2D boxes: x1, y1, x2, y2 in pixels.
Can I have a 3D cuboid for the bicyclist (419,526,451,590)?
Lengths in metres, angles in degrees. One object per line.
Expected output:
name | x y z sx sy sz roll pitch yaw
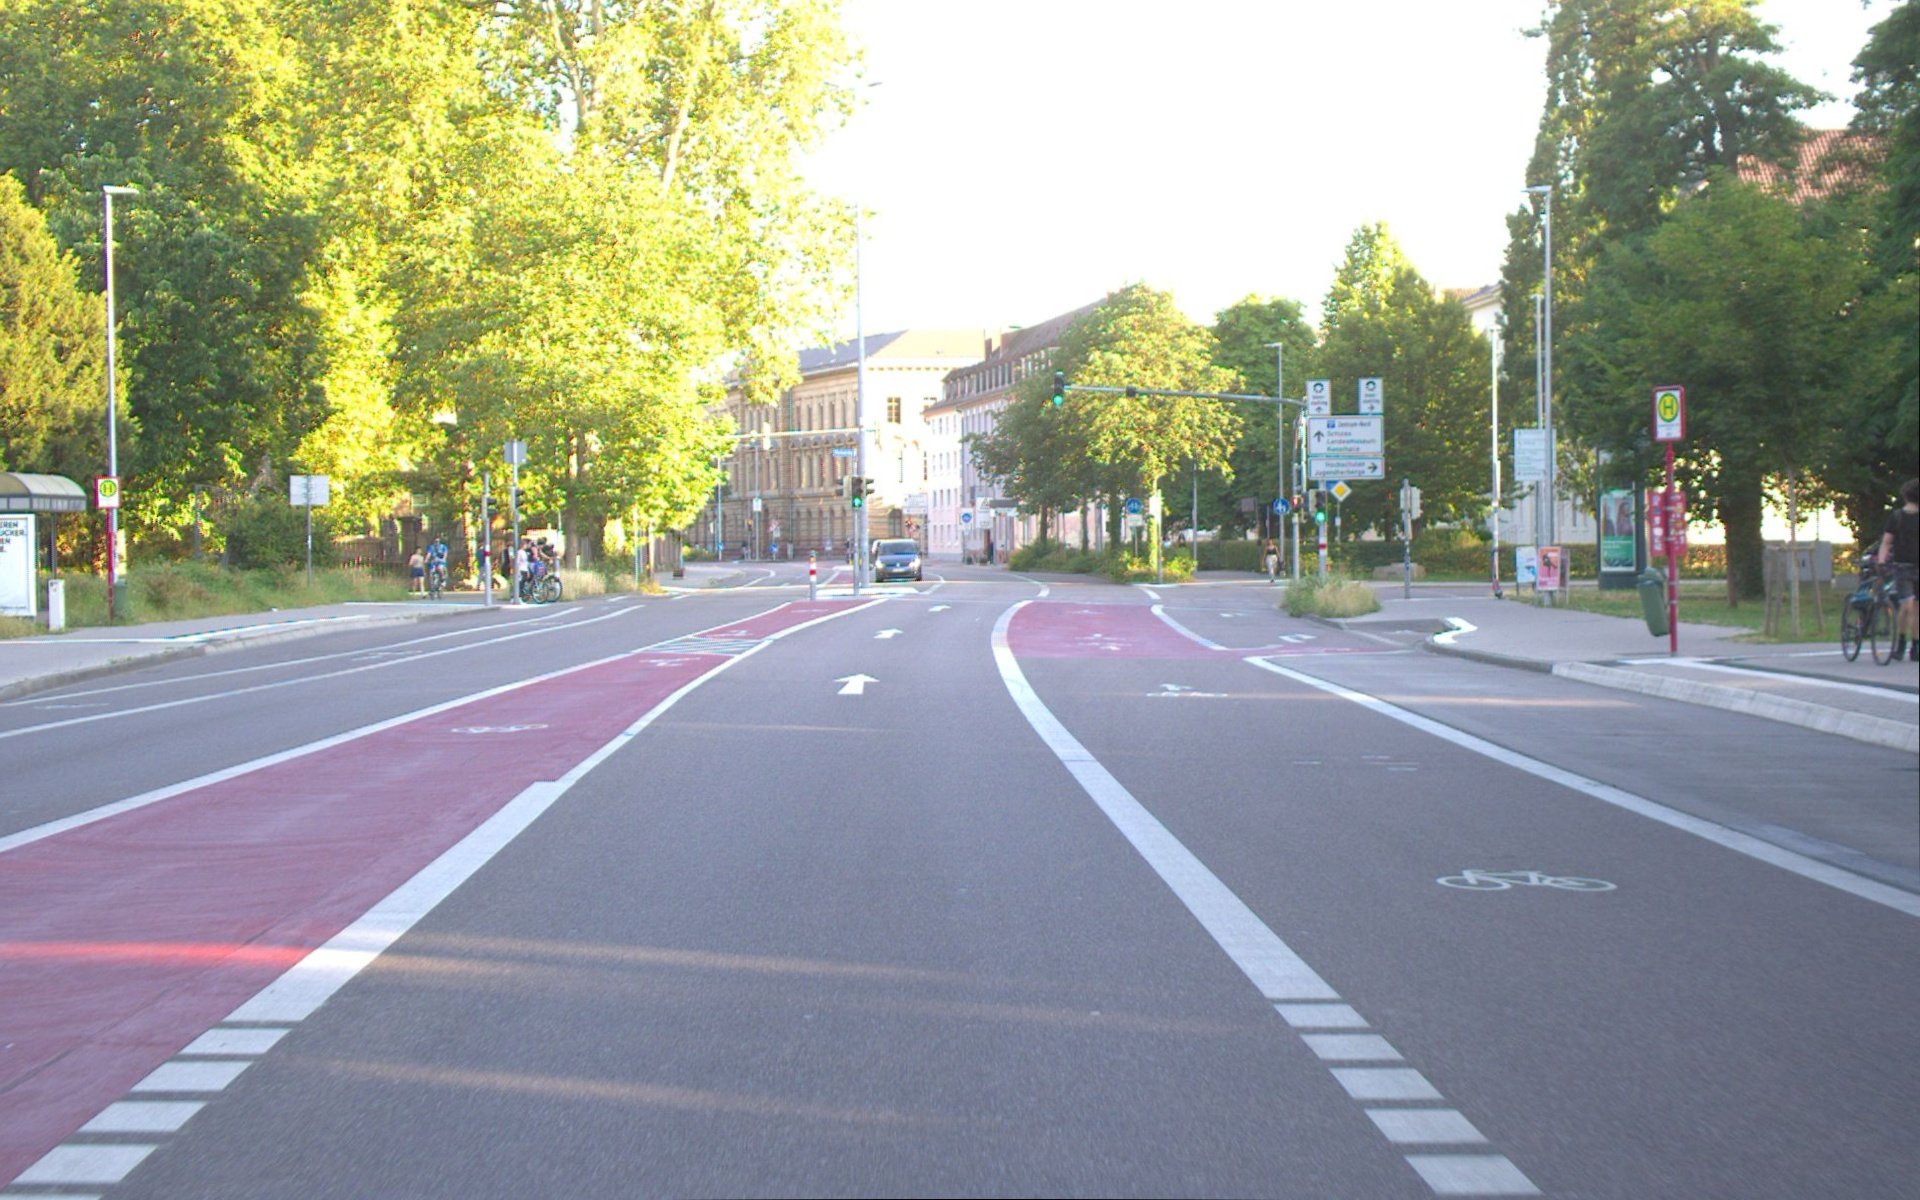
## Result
bicyclist | -15.061 -1.195 98.582 0.735 1.817 0.712 -1 0 3

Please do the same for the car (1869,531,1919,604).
car | 21.875 -0.720 74.634 3.988 1.556 1.785 0 1 9

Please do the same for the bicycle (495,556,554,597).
bicycle | -11.975 -0.650 94.469 1.566 1.107 0.632 0 1 34

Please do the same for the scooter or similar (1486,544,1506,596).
scooter or similar | 13.004 -0.734 83.449 0.311 1.227 1.311 0 1 2

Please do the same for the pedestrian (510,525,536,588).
pedestrian | -11.694 -1.162 92.023 0.607 1.690 0.498 0 1 4

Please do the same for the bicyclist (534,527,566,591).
bicyclist | -11.431 -1.153 95.886 0.638 1.774 0.575 0 1 33

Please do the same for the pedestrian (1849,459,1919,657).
pedestrian | 9.591 -0.431 35.277 0.723 2.007 0.695 1 1 -1

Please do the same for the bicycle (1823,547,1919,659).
bicycle | 9.603 0.016 35.490 0.830 1.094 1.969 -2 1 -1

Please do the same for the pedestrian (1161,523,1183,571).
pedestrian | 8.942 -2.240 145.225 0.870 2.007 0.722 1 1 2

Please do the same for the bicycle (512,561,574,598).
bicycle | -11.643 -0.570 96.052 1.769 1.026 0.578 0 1 34

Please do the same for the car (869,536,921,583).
car | -2.516 -1.573 133.416 1.849 1.714 4.296 -2 1 0

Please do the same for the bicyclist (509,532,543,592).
bicyclist | -11.919 -1.052 94.432 0.638 1.644 0.629 0 1 33

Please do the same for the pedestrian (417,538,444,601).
pedestrian | -17.006 -0.978 110.399 0.649 2.007 0.606 0 1 -36

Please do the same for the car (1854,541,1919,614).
car | 21.093 -0.526 71.457 4.570 1.444 1.900 -2 -1 5
